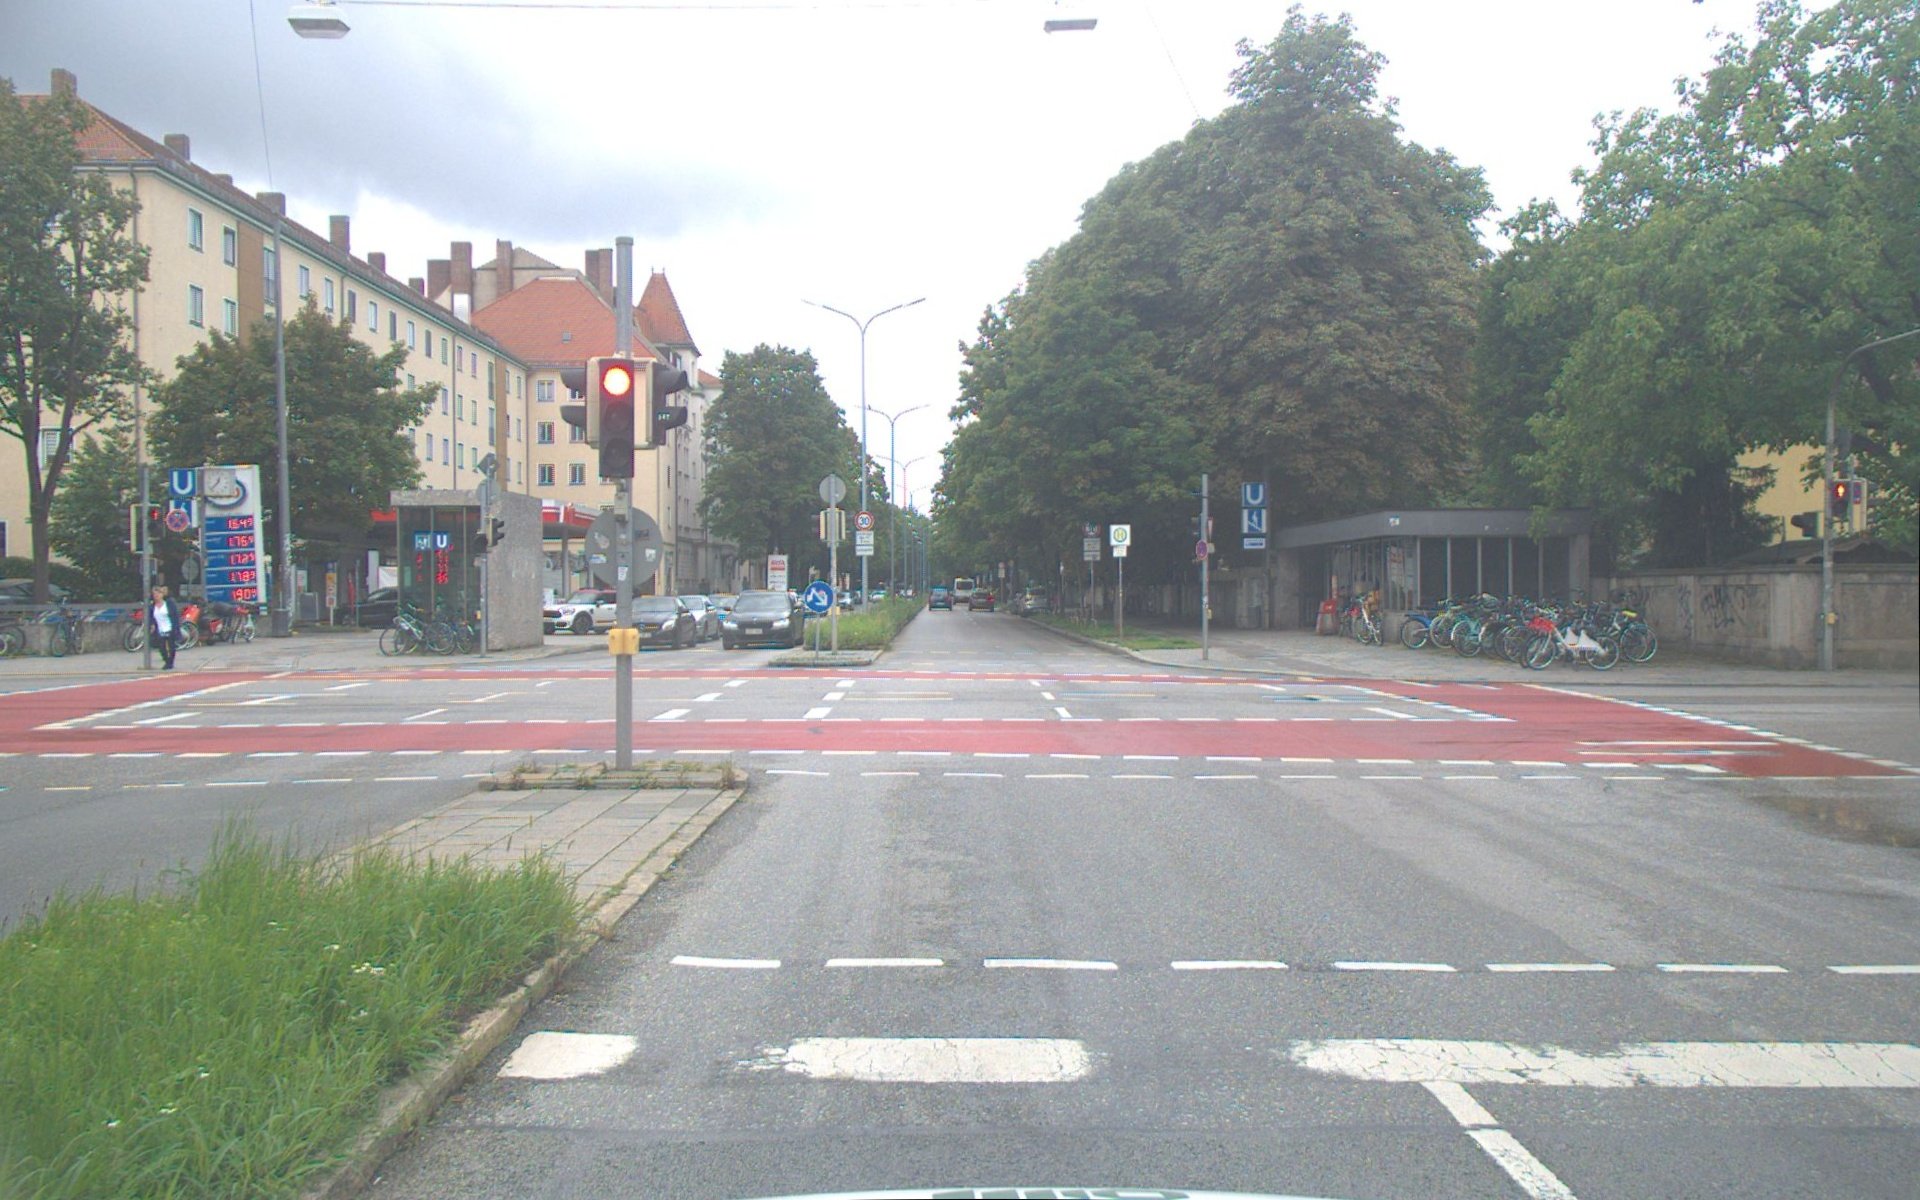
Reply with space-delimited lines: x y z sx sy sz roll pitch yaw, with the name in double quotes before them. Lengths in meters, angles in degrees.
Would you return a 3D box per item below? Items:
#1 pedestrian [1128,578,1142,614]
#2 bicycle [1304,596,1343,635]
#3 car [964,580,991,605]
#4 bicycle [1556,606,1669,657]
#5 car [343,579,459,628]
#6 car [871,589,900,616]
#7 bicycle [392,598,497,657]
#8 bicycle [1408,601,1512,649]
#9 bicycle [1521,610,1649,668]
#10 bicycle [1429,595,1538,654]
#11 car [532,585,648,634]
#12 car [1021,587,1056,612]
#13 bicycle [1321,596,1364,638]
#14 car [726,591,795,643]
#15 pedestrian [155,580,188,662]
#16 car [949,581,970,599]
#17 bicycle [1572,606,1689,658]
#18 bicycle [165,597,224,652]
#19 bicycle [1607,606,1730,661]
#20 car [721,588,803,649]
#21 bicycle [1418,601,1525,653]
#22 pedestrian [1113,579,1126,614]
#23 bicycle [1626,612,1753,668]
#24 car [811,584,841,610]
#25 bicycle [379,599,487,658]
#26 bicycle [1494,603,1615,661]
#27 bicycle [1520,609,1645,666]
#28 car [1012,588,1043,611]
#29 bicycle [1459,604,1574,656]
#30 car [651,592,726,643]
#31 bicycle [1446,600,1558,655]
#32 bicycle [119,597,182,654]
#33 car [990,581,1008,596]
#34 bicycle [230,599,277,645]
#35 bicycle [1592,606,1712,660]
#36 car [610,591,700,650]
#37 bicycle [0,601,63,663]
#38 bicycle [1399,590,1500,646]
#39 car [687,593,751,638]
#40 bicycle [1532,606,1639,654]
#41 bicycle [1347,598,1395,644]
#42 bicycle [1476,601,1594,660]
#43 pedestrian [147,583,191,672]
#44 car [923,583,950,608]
"pedestrian" 8.566 -0.194 80.818 0.663 1.712 0.683 0 0 5
"bicycle" 9.945 0.413 45.332 0.545 1.032 2.014 0 0 -3
"car" 1.228 -0.499 117.561 1.883 1.713 3.999 1 0 0
"bicycle" 13.523 0.644 34.317 2.097 1.032 0.634 0 0 7
"car" -21.895 0.123 64.885 3.908 1.870 1.879 0 0 -4
"car" -3.957 0.127 88.298 1.438 1.423 3.699 0 0 -1
"bicycle" -12.045 0.637 38.681 2.238 1.327 0.694 0 0 0
"bicycle" 10.884 0.547 36.064 2.097 1.032 0.603 0 0 7
"bicycle" 11.402 0.715 30.221 2.097 1.032 0.603 0 0 7
"bicycle" 10.903 0.507 34.481 2.097 1.199 0.603 0 0 7
"car" -13.076 0.313 58.659 1.777 1.637 3.958 0 1 31
"car" 4.394 -0.055 92.872 1.707 1.387 3.806 0 1 -1
"bicycle" 9.712 0.414 42.017 0.545 1.032 2.014 0 0 -3
"car" -6.136 0.484 51.221 1.724 1.519 3.999 0 1 -1
"pedestrian" -16.837 0.444 35.332 0.584 1.725 0.571 0 0 -31
"car" -0.056 -0.986 160.795 1.953 1.787 3.999 0 1 -1
"bicycle" 13.584 0.646 33.533 2.097 1.032 0.634 0 0 7
"bicycle" -18.175 0.563 39.314 0.596 1.257 2.184 0 0 -7
"bicycle" 13.676 0.649 31.972 2.097 1.032 0.634 0 0 7
"car" -5.182 0.441 43.728 1.724 1.519 3.999 0 1 -1
"bicycle" 10.865 0.565 35.183 2.097 1.080 0.603 0 0 7
"pedestrian" 7.779 -0.161 80.667 0.663 1.712 0.683 0 0 5
"bicycle" 13.735 0.752 31.176 2.097 1.032 0.634 0 0 7
"car" -9.031 -0.207 111.722 1.839 1.697 3.998 0 0 -2
"bicycle" -12.060 0.653 37.901 2.225 1.327 0.704 0 0 0
"bicycle" 11.364 0.611 31.650 2.097 1.089 0.603 0 0 7
"bicycle" 11.591 0.699 30.848 2.097 1.032 0.634 0 0 7
"car" 4.166 -0.053 103.102 1.707 1.387 3.806 0 1 -1
"bicycle" 11.087 0.598 33.017 2.097 1.032 0.603 0 0 7
"car" -8.415 0.516 51.572 1.724 1.486 3.999 0 1 -1
"bicycle" 11.040 0.559 33.745 2.097 1.105 0.603 0 0 7
"bicycle" -18.812 0.570 38.478 0.596 1.257 2.184 0 0 -7
"car" 3.825 -1.120 162.730 1.707 1.452 3.898 0 1 -1
"bicycle" -18.558 0.567 43.455 0.596 1.165 1.963 0 0 -7
"bicycle" 13.673 0.650 32.740 2.097 1.032 0.634 0 0 7
"car" -8.156 0.520 44.486 1.724 1.486 3.999 0 1 -1
"bicycle" -20.366 0.668 34.710 2.676 1.273 0.785 1 0 -32
"bicycle" 10.876 0.398 36.783 2.097 1.240 0.603 0 0 7
"car" -8.478 0.524 58.393 1.724 1.486 3.999 0 1 -1
"bicycle" 13.562 0.648 35.899 2.097 1.032 0.634 0 0 7
"bicycle" 9.754 0.487 39.287 0.545 1.032 2.014 0 0 -3
"bicycle" 11.222 0.595 32.303 2.097 1.120 0.603 0 0 7
"pedestrian" -15.400 0.524 32.206 0.522 1.725 0.577 0 0 10
"car" -1.651 -0.315 116.586 1.819 1.713 3.999 0 0 -1
